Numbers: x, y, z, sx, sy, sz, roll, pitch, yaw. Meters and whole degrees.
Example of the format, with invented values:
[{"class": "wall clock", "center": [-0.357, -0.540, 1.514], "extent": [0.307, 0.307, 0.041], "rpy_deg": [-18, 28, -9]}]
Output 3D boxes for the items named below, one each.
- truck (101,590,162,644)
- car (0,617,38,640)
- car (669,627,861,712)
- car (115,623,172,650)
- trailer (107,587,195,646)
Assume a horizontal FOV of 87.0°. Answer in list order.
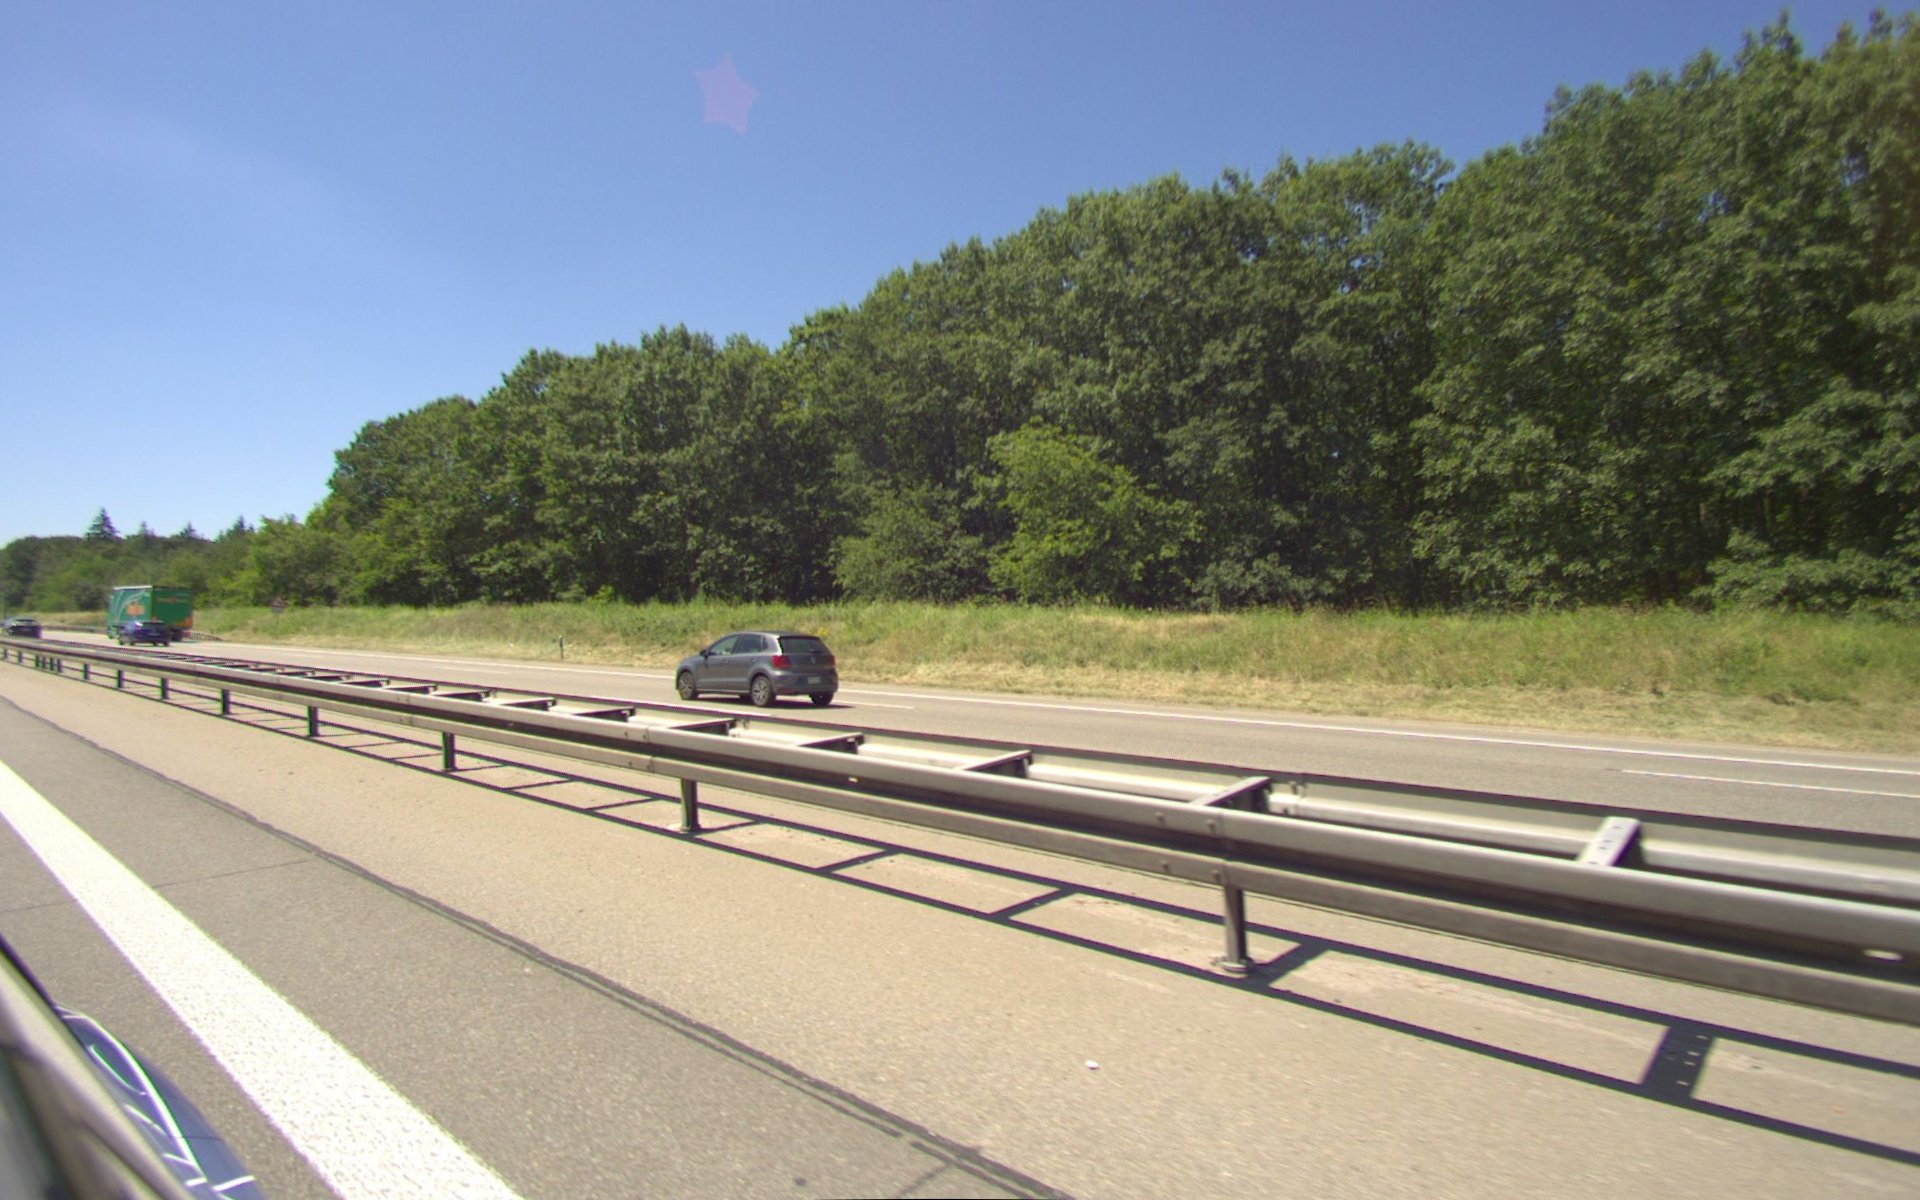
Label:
[{"class": "truck", "center": [-68.088, 1.422, 83.098], "extent": [6.294, 4.193, 2.672], "rpy_deg": [-1, -4, 41]}, {"class": "car", "center": [-61.447, 1.837, 65.732], "extent": [5.081, 1.421, 1.691], "rpy_deg": [-1, -4, 41]}, {"class": "car", "center": [-3.887, 1.306, 19.892], "extent": [3.935, 1.484, 1.615], "rpy_deg": [-1, -4, 41]}, {"class": "car", "center": [-47.122, 2.076, 58.340], "extent": [5.133, 1.454, 1.656], "rpy_deg": [-1, -4, 41]}, {"class": "trailer", "center": [-62.873, 1.324, 78.482], "extent": [14.331, 4.193, 2.676], "rpy_deg": [-1, -4, 41]}]
